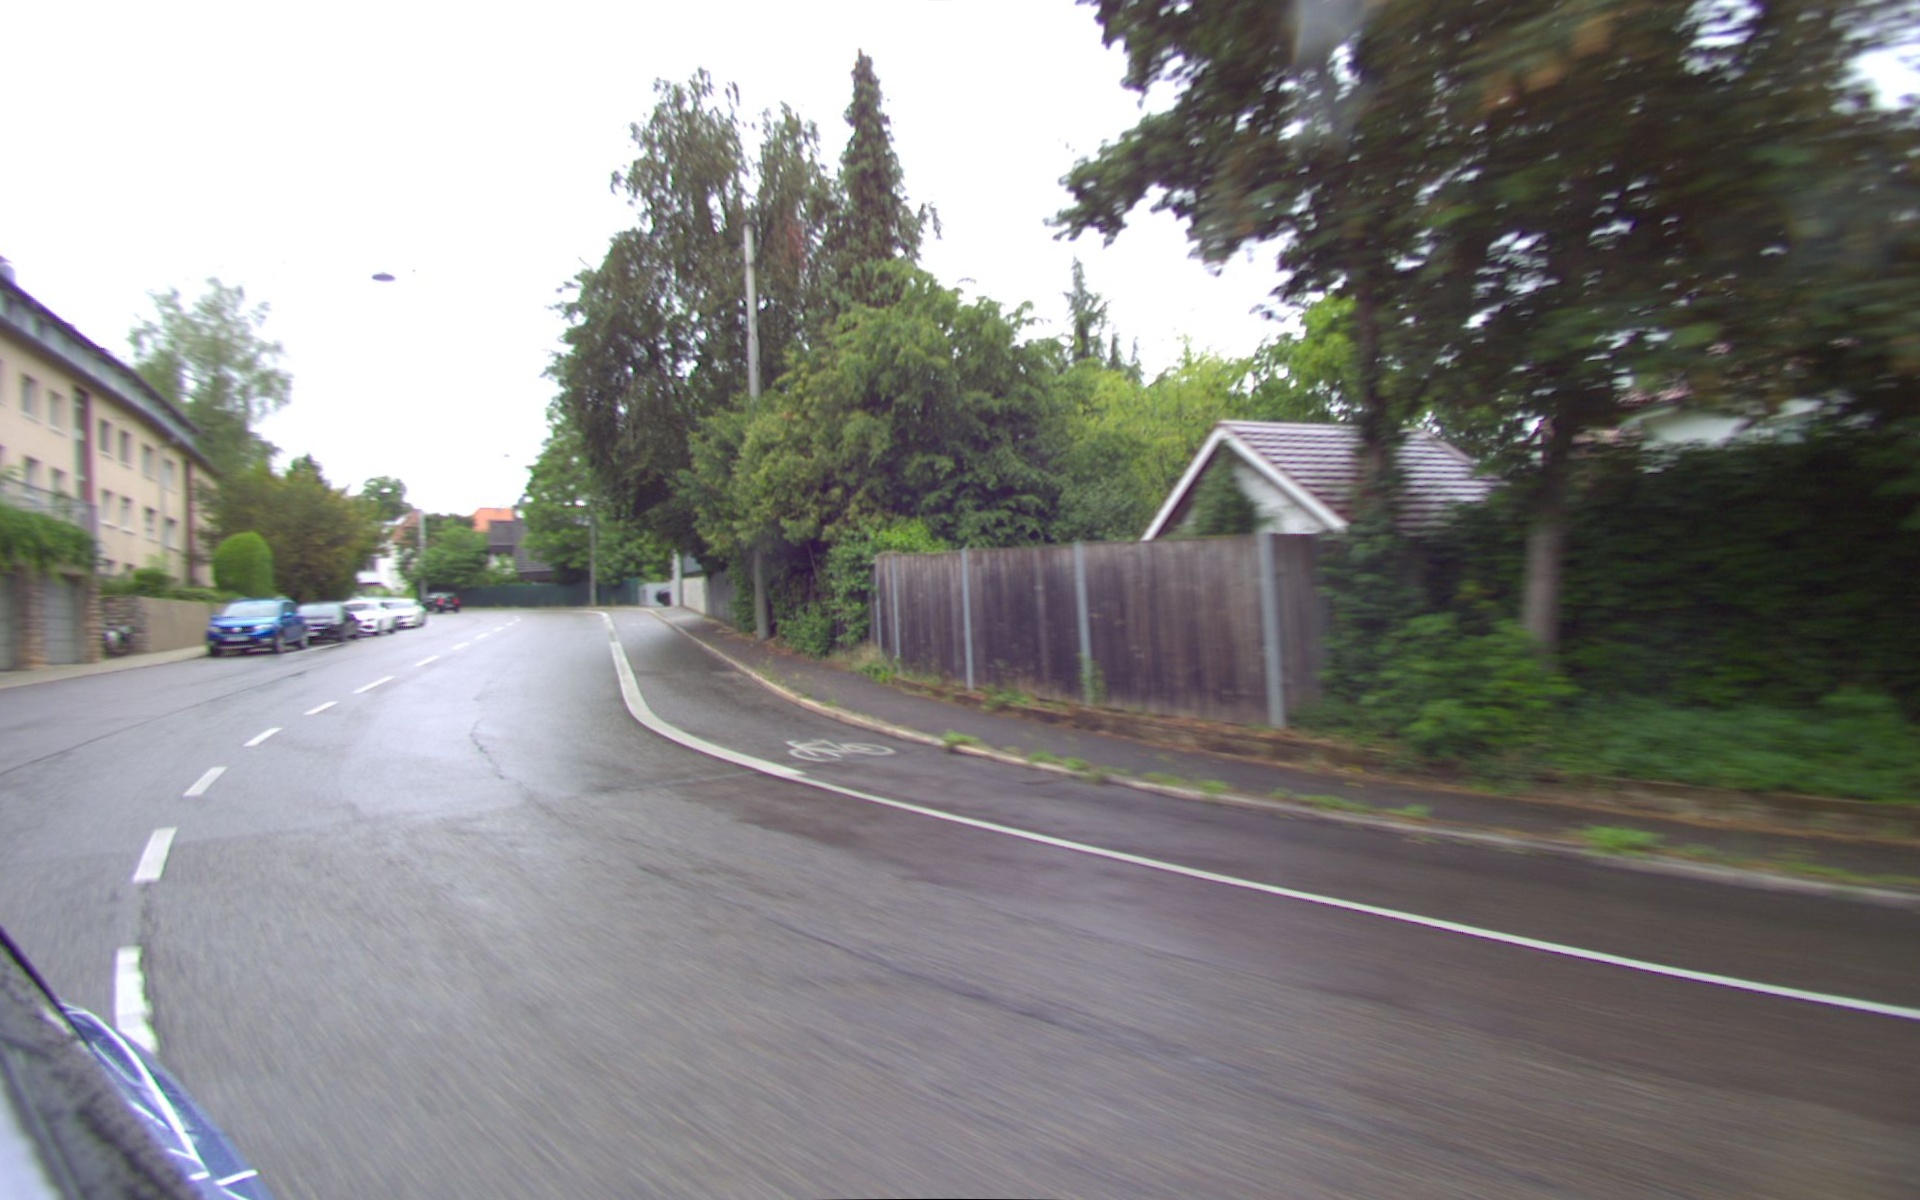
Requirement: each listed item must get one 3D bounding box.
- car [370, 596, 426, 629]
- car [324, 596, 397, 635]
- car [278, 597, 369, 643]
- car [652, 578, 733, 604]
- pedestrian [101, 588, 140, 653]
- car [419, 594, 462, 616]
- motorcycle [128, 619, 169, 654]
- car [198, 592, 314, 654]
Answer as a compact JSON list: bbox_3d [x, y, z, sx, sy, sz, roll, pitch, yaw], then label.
[{"bbox_3d":[-27.570,0.615,49.738,1.754,1.446,4.584,-4,1,-22],"label":"car"},{"bbox_3d":[-24.369,0.614,41.295,1.782,1.466,4.267,-2,0,-20],"label":"car"},{"bbox_3d":[-22.285,0.667,35.609,1.666,1.466,4.267,-2,0,-18],"label":"car"},{"bbox_3d":[-15.118,-0.512,57.249,3.962,1.311,1.889,-2,0,15],"label":"car"},{"bbox_3d":[-22.081,0.541,26.633,0.614,1.663,0.613,-2,1,40],"label":"pedestrian"},{"bbox_3d":[-37.928,0.372,73.799,3.805,1.430,1.631,0,4,45],"label":"car"},{"bbox_3d":[-21.199,0.938,26.429,1.379,0.862,0.530,-2,1,40],"label":"motorcycle"},{"bbox_3d":[-20.376,0.636,29.477,1.709,1.605,4.267,-2,0,-20],"label":"car"}]
